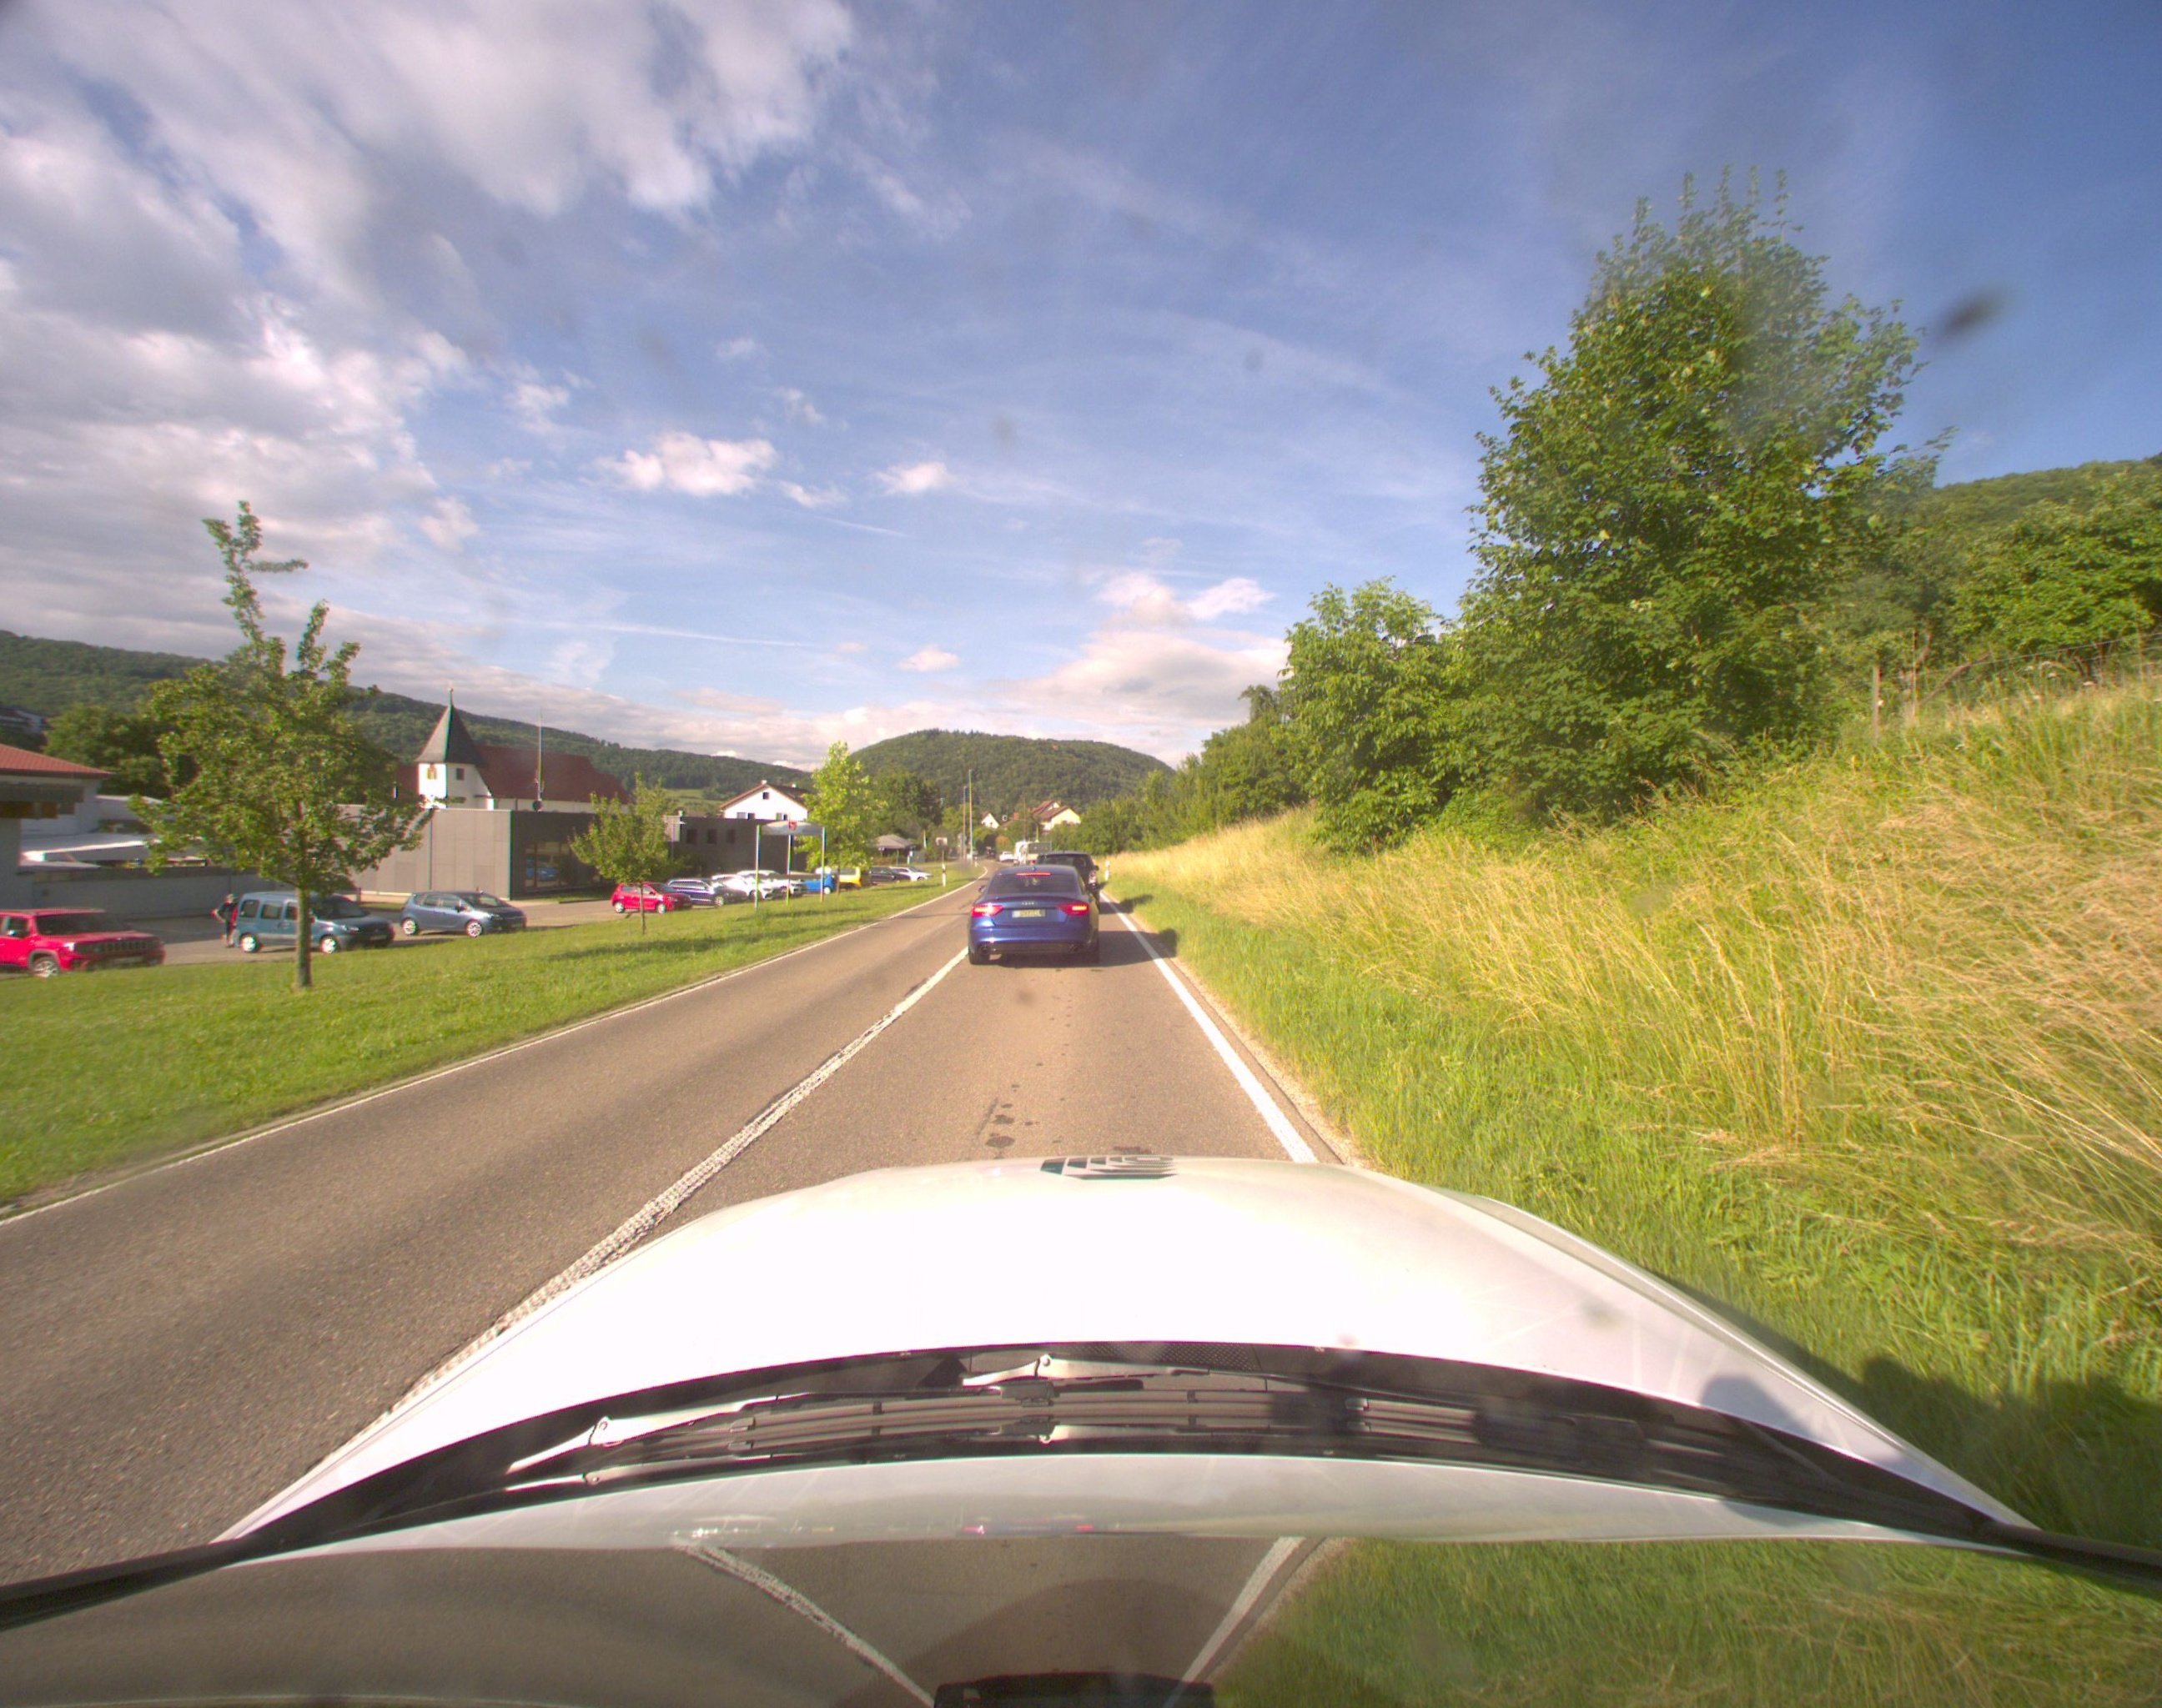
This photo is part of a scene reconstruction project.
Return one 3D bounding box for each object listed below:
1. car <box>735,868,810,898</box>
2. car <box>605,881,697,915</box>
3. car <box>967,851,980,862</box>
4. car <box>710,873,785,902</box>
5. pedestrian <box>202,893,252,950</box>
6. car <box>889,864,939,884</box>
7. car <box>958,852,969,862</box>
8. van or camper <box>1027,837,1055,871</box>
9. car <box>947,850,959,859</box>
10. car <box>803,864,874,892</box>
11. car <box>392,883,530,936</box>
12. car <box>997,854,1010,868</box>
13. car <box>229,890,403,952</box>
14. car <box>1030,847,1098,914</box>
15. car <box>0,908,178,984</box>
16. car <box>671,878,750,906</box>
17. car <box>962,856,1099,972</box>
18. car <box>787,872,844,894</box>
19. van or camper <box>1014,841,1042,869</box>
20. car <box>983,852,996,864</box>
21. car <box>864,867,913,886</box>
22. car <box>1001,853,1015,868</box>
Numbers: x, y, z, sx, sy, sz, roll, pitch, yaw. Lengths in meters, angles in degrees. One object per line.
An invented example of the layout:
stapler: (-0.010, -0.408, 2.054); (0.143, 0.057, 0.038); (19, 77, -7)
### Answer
car: (-19.196, 1.796, 50.756); (4.052, 1.673, 1.601); (-2, 0, 9)
car: (-20.730, 2.102, 39.310); (3.602, 1.444, 1.653); (0, 1, 9)
car: (-20.915, 0.516, 158.279); (1.681, 1.924, 3.977); (-2, 0, -17)
car: (-19.404, 1.951, 47.449); (3.644, 1.494, 1.601); (-2, 0, 9)
pedestrian: (-26.446, 2.087, 25.224); (0.790, 1.693, 0.706); (0, -1, 4)
car: (-15.061, 1.794, 73.697); (4.011, 1.660, 1.660); (-2, 0, 9)
car: (-24.265, 0.603, 167.921); (1.681, 1.924, 3.977); (-2, 0, -17)
van or camper: (-3.200, 0.038, 64.116); (2.048, 2.505, 5.802); (-2, 0, -4)
car: (-28.663, 0.154, 182.676); (1.961, 1.924, 3.974); (-2, 0, -19)
car: (-17.647, 1.727, 59.327); (4.525, 1.815, 1.846); (-2, 0, 9)
car: (-22.203, 1.960, 29.223); (3.796, 1.722, 1.736); (-1, -1, 8)
car: (-11.255, 1.035, 118.177); (1.659, 1.924, 3.988); (-2, 0, -9)
car: (-23.124, 2.005, 24.700); (3.841, 1.722, 1.759); (-1, 0, 6)
car: (-0.403, 0.644, 21.527); (1.640, 1.625, 3.516); (0, 0, 0)
car: (-23.959, 2.140, 19.150); (3.897, 1.579, 1.760); (-1, -1, 8)
car: (-20.120, 2.073, 44.315); (3.602, 1.405, 1.601); (-2, -1, 9)
car: (-0.638, 0.783, 12.280); (1.737, 1.450, 3.516); (-1, 0, 0)
car: (-18.499, 1.999, 56.746); (3.356, 1.373, 1.661); (-2, 0, 2)
van or camper: (-5.485, 0.153, 83.458); (2.280, 2.714, 5.750); (-2, 0, -8)
car: (-15.727, 0.671, 139.957); (1.679, 1.924, 3.981); (-2, 0, -14)
car: (-16.386, 1.947, 69.289); (3.690, 1.439, 1.513); (-2, 0, 9)
car: (-9.924, 0.858, 110.594); (1.658, 1.924, 3.989); (-2, 0, -8)
